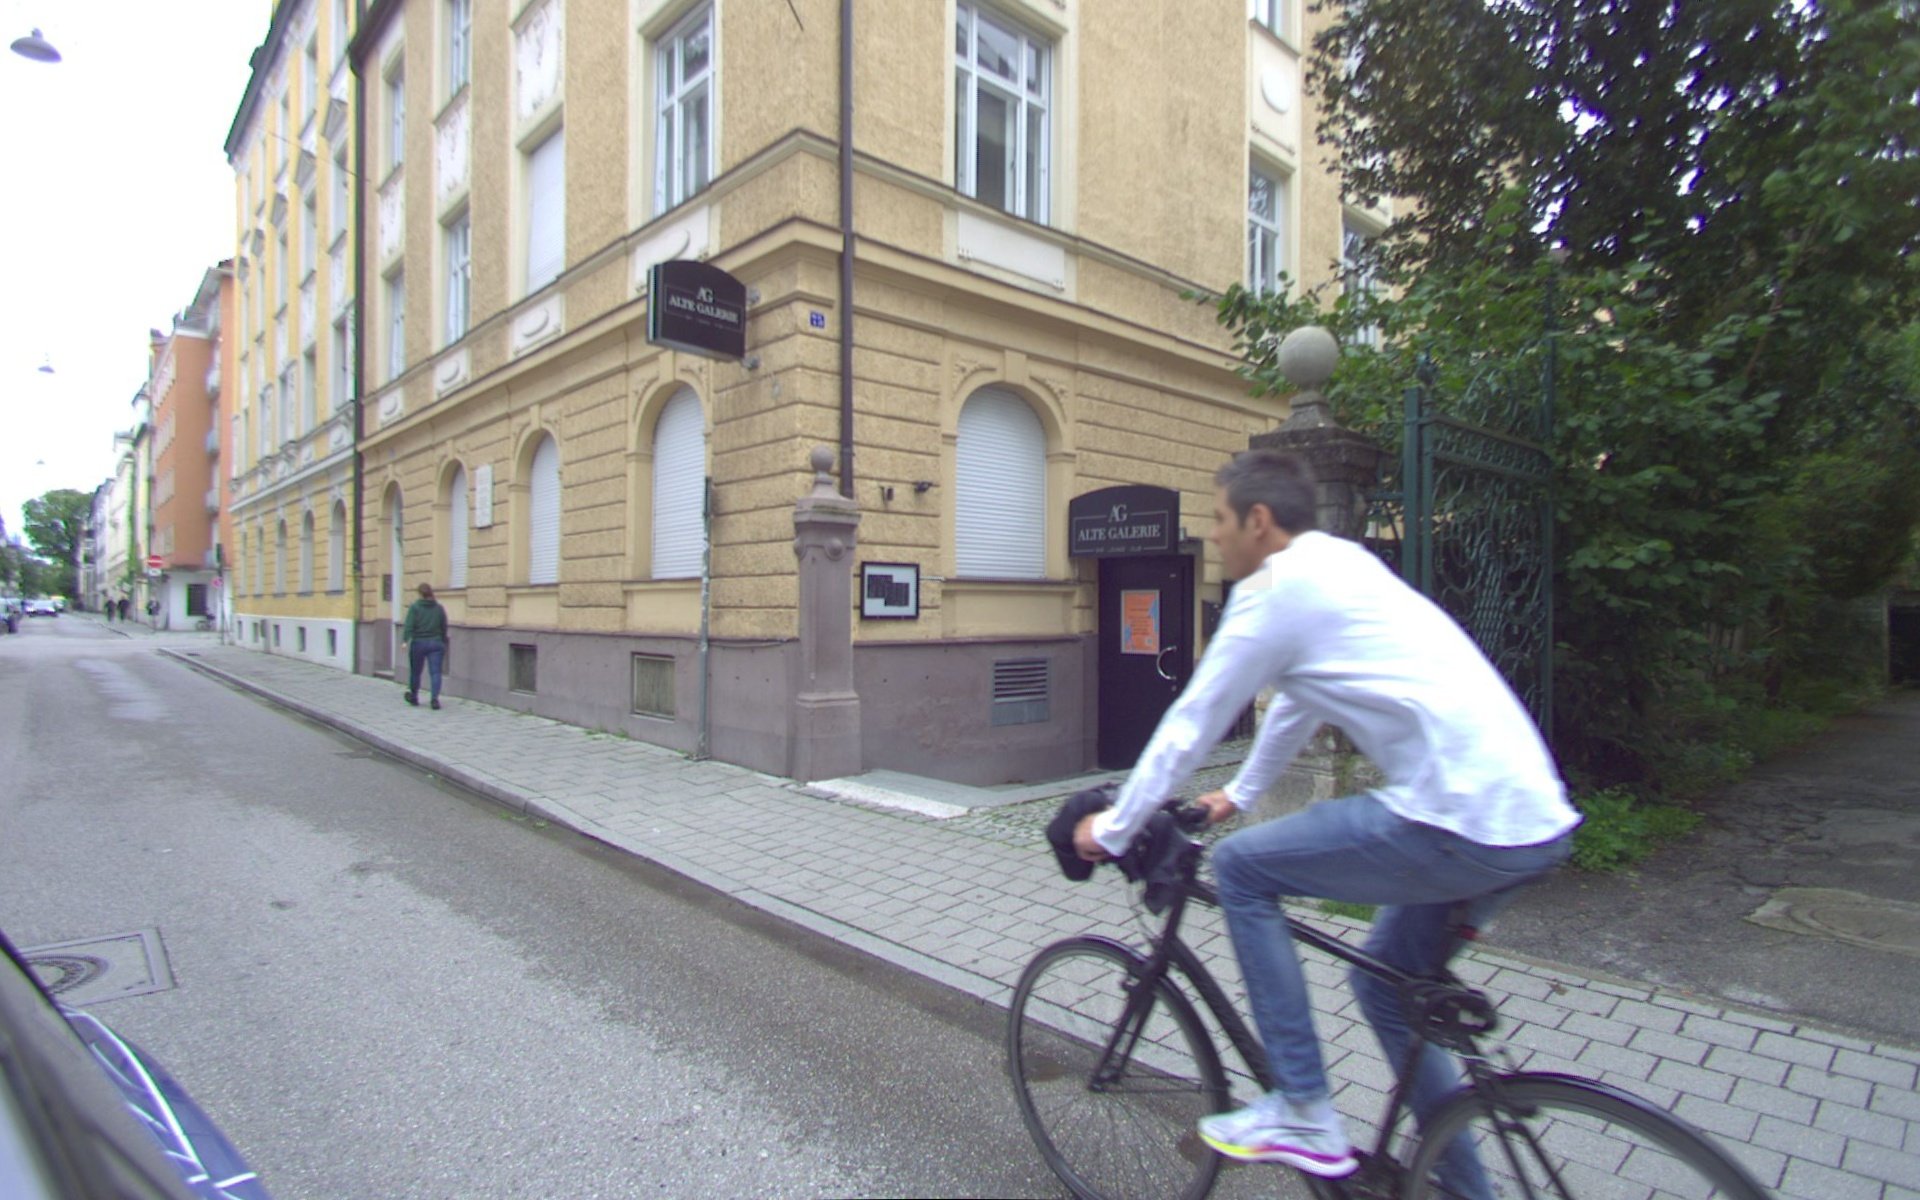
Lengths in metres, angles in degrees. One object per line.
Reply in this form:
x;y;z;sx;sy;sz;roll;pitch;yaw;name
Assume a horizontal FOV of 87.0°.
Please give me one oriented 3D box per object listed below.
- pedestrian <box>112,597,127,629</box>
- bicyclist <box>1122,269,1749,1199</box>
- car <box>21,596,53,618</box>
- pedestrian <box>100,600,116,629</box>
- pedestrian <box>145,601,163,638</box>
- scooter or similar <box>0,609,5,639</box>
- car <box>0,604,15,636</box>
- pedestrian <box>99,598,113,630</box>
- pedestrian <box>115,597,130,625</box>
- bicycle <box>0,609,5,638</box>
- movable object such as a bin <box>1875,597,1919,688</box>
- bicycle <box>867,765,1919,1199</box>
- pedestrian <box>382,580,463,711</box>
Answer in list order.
-54.751;0.835;65.907;0.625;2.029;0.789;3;-3;-42;pedestrian
0.868;0.385;1.916;0.652;1.655;0.896;1;-1;-43;bicyclist
-78.489;0.600;86.038;1.902;1.819;4.448;1;-1;-43;car
-54.992;0.935;65.292;0.715;1.807;0.831;1;-1;-42;pedestrian
-37.343;0.907;46.882;0.604;1.707;0.566;2;-1;-43;pedestrian
-39.508;0.964;40.862;1.320;1.223;0.345;1;-1;-40;scooter or similar
-44.754;0.891;46.681;1.629;1.409;4.005;1;-1;-42;car
-55.182;0.899;65.398;0.625;2.029;0.789;3;-3;-42;pedestrian
-54.549;0.704;65.907;0.689;1.807;0.764;1;-1;-42;pedestrian
-40.582;0.959;41.813;1.584;1.223;0.530;1;-1;-40;bicycle
15.379;0.660;15.991;1.207;1.414;1.110;1;-1;-35;movable object such as a bin
0.683;1.013;2.113;0.653;1.047;2.007;1;-1;-43;bicycle
-7.286;0.587;13.717;0.704;1.678;0.931;-3;1;-43;pedestrian
